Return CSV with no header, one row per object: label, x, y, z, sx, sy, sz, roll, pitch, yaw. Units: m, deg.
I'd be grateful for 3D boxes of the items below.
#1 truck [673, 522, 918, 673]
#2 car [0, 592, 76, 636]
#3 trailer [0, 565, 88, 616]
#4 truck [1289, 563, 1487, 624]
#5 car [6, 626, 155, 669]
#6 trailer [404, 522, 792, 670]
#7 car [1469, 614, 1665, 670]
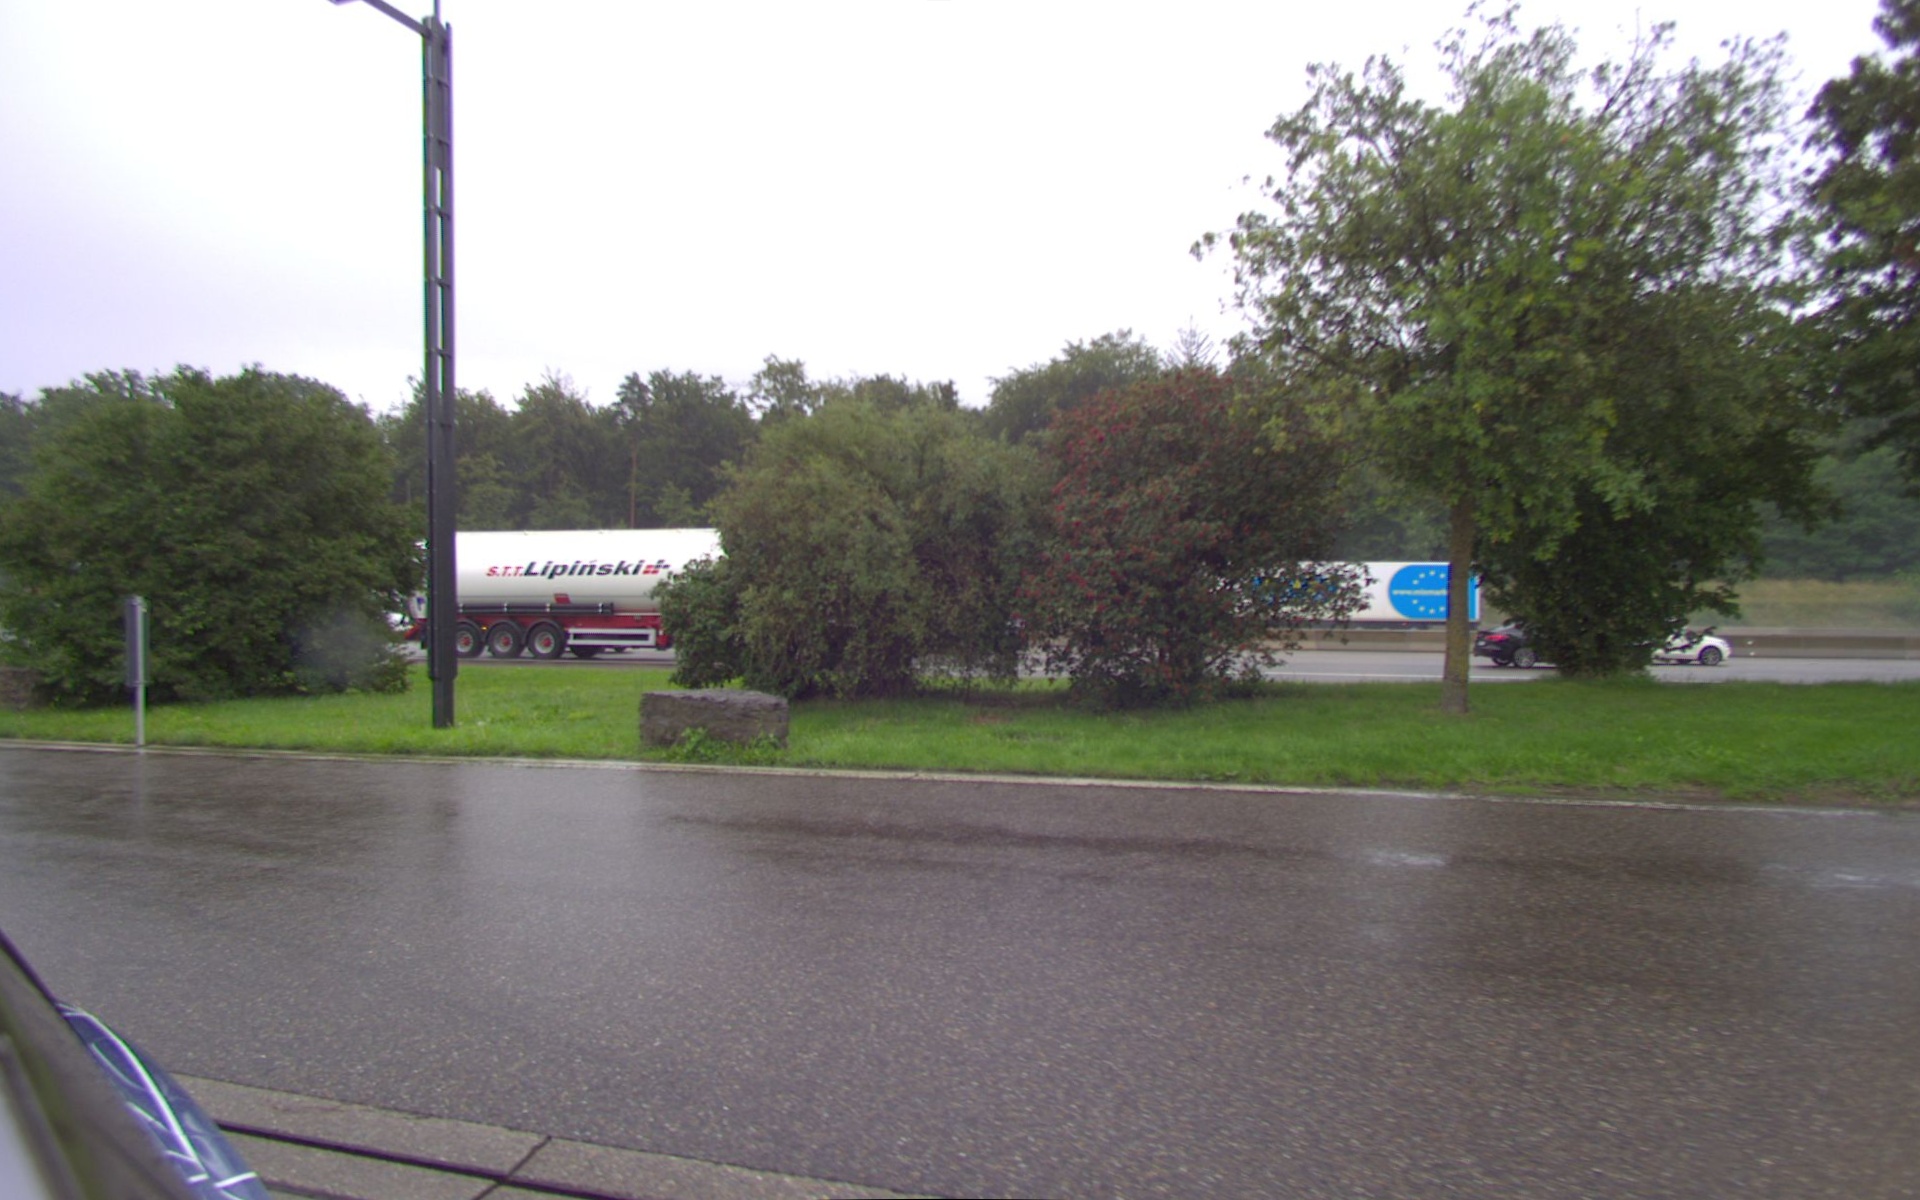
truck,-4.611,-0.075,29.018,6.436,4.038,2.751,0,0,10
car,-44.447,0.643,47.874,3.959,2.029,1.992,0,0,12
trailer,-69.144,-0.757,72.684,12.990,3.522,2.190,1,3,11
truck,21.465,-0.286,51.152,8.841,2.973,2.248,0,-1,9
car,-33.436,1.803,38.521,4.455,1.590,1.992,-1,-3,12
trailer,-10.665,-0.105,30.065,10.918,4.056,2.763,0,-1,10
car,17.490,1.180,29.356,4.452,1.492,1.881,1,0,9
